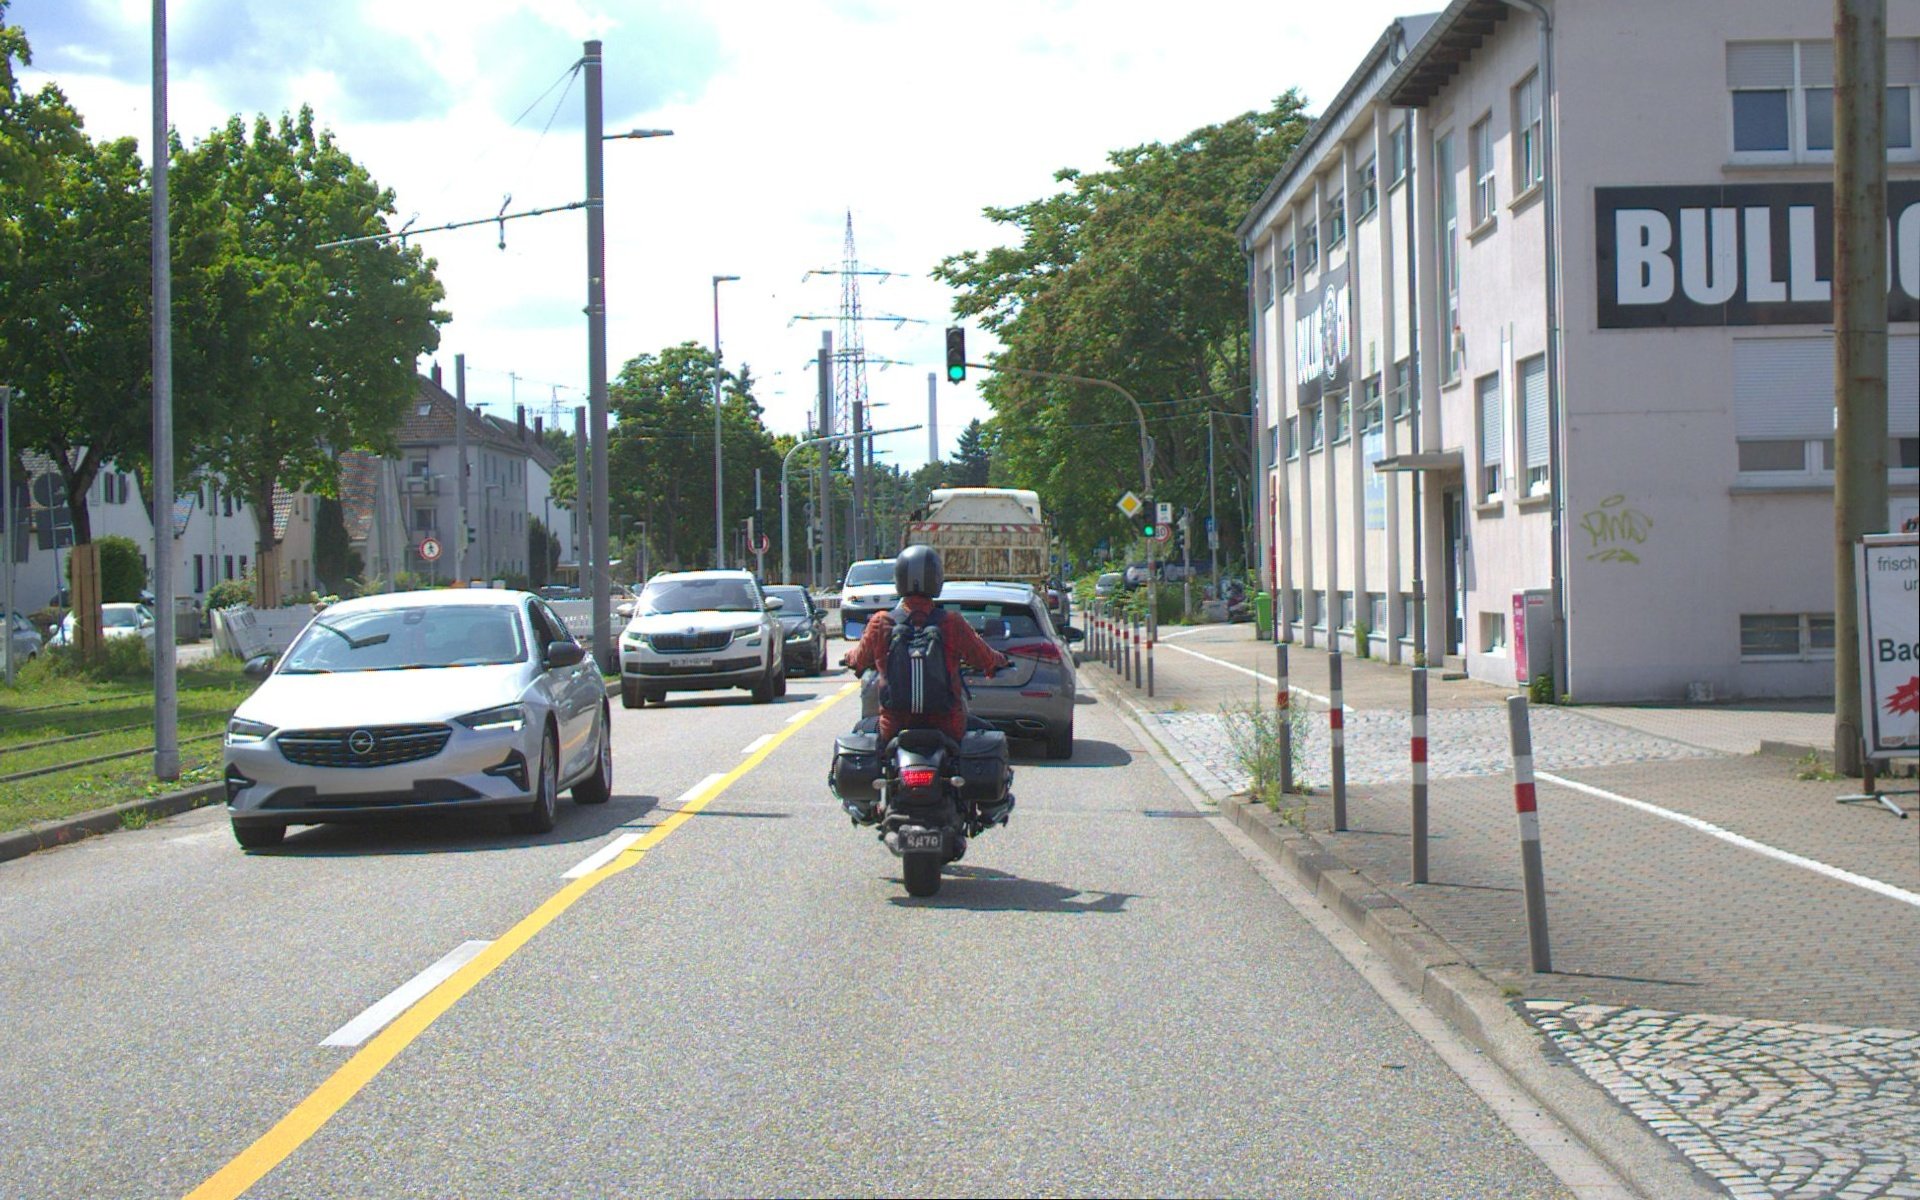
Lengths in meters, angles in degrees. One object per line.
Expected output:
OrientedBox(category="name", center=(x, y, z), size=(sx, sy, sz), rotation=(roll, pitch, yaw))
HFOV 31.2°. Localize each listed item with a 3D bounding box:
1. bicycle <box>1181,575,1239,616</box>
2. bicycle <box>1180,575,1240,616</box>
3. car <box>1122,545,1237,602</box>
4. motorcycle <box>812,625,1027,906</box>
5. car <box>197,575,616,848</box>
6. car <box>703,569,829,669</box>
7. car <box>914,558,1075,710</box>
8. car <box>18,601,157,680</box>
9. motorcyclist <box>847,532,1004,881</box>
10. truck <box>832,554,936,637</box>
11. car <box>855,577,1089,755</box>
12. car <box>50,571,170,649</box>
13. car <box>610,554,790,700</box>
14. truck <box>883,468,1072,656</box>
OrientedBox(category="bicycle", center=(7.399, -0.132, 101.740), size=(1.708, 1.168, 0.438), rotation=(1, 0, 6))
OrientedBox(category="bicycle", center=(7.351, -0.129, 101.087), size=(1.708, 1.168, 0.438), rotation=(1, 0, 6))
OrientedBox(category="car", center=(7.742, -0.939, 121.202), size=(3.989, 1.919, 1.802), rotation=(1, 0, -44))
OrientedBox(category="motorcycle", center=(-0.164, 0.748, 16.591), size=(0.942, 1.196, 2.472), rotation=(1, 1, 1))
OrientedBox(category="car", center=(-3.251, 0.612, 21.038), size=(1.821, 1.440, 4.484), rotation=(-2, 0, 0))
OrientedBox(category="car", center=(-3.058, 0.297, 54.881), size=(1.692, 1.408, 3.859), rotation=(-4, 0, 0))
OrientedBox(category="car", center=(0.486, 0.381, 43.516), size=(1.901, 1.706, 4.719), rotation=(-1, 2, 2))
OrientedBox(category="car", center=(-15.659, 0.712, 61.856), size=(1.521, 1.349, 3.621), rotation=(1, 0, 1))
OrientedBox(category="motorcyclist", center=(-0.154, 0.491, 16.232), size=(0.698, 1.599, 0.692), rotation=(1, 0, 1))
OrientedBox(category="truck", center=(-1.808, -0.137, 83.155), size=(1.820, 1.903, 5.115), rotation=(1, 1, 6))
OrientedBox(category="car", center=(0.036, 0.522, 29.903), size=(1.731, 1.399, 4.087), rotation=(1, 0, -4))
OrientedBox(category="car", center=(-16.527, 0.174, 66.998), size=(1.540, 1.372, 4.253), rotation=(-4, 1, -5))
OrientedBox(category="car", center=(-3.179, 0.322, 42.777), size=(1.824, 1.660, 4.462), rotation=(-2, 0, 0))
OrientedBox(category="truck", center=(0.420, -0.645, 62.478), size=(2.968, 3.162, 7.763), rotation=(1, 0, 3))
